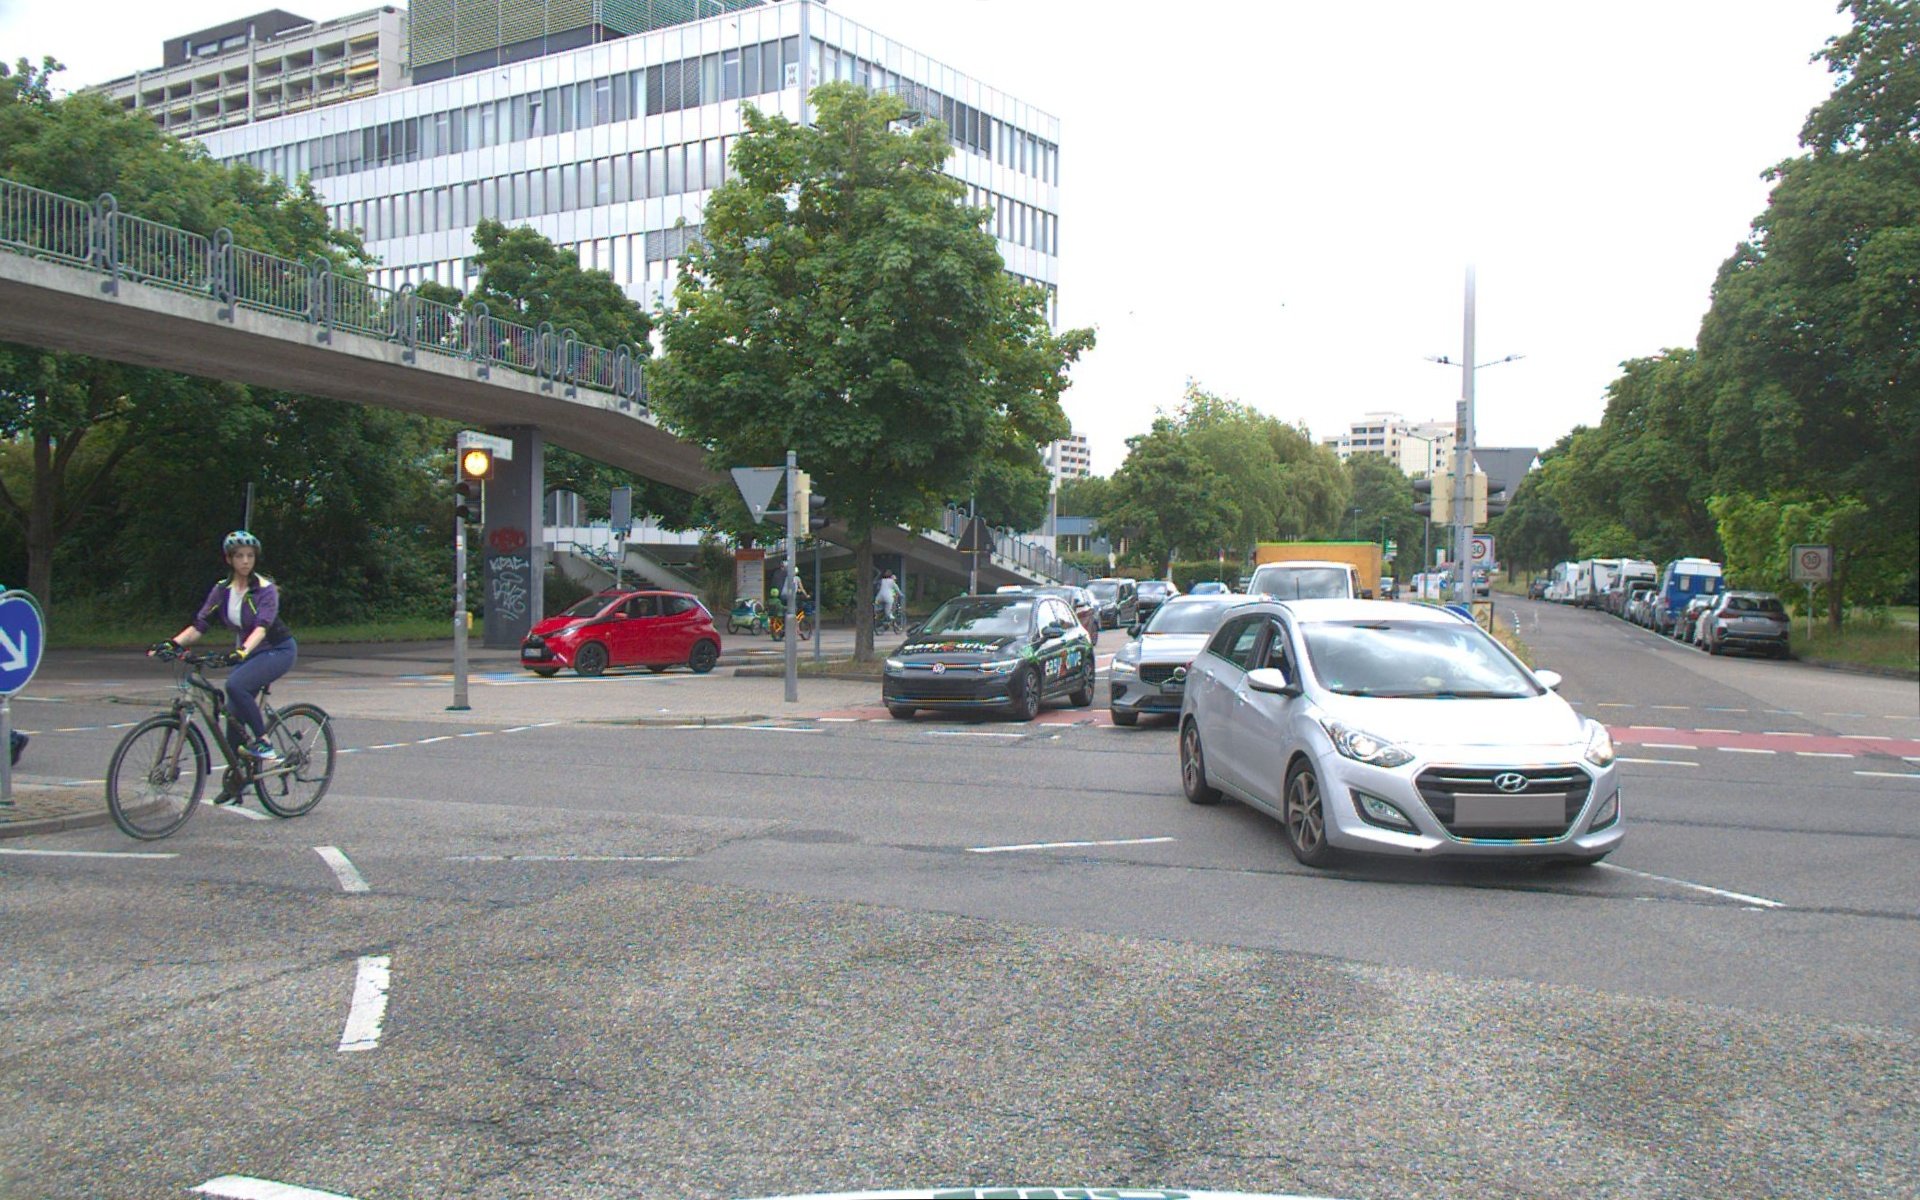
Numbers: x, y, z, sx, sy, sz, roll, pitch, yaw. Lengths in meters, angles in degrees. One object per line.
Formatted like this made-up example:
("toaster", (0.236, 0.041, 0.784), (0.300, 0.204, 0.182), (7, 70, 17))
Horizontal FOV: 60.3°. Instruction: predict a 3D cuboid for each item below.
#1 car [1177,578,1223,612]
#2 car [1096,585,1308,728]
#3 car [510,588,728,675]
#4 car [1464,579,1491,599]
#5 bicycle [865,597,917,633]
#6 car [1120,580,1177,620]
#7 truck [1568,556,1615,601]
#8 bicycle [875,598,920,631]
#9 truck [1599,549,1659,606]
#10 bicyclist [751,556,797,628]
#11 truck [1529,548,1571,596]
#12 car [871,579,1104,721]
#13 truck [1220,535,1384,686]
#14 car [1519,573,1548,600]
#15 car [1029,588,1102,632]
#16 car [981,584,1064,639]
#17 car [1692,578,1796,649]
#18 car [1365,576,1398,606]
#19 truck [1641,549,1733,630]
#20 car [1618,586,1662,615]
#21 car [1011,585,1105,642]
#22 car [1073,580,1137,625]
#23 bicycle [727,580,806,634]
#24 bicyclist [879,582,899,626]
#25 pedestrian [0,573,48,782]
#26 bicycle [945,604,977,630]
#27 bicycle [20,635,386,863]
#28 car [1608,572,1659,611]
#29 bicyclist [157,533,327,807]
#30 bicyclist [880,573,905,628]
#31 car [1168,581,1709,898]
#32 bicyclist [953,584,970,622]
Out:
("car", (11.780, -0.275, 81.001), (1.636, 1.579, 4.003), (1, 1, 17))
("car", (2.980, 0.624, 19.479), (1.856, 1.445, 4.739), (1, -1, 16))
("car", (-5.903, 0.503, 28.847), (1.491, 1.414, 3.508), (1, 1, 44))
("car", (41.825, -0.930, 133.623), (1.977, 1.531, 4.003), (1, 1, 16))
("bicycle", (-1.943, 0.424, 46.802), (0.746, 0.965, 1.953), (1, 1, 22))
("car", (7.835, -0.025, 68.519), (1.636, 1.579, 4.003), (1, 1, 17))
("truck", (37.265, -1.265, 97.711), (1.951, 2.617, 5.383), (0, 0, 14))
("bicycle", (-1.911, 0.424, 50.609), (0.517, 0.965, 1.705), (1, 1, 32))
("truck", (34.689, -1.179, 85.870), (1.951, 2.887, 5.737), (0, 1, 13))
("bicyclist", (-5.041, -0.235, 44.926), (0.838, 1.925, 1.128), (1, 2, 18))
("truck", (38.685, -1.843, 108.561), (1.951, 3.061, 5.777), (0, 0, 13))
("car", (0.467, 0.512, 20.206), (1.732, 1.503, 4.393), (1, 1, 16))
("truck", (5.847, 0.085, 27.689), (2.110, 2.237, 5.844), (1, 1, 17))
("car", (43.012, -1.052, 124.052), (1.616, 1.951, 3.923), (0, 2, 12))
("car", (3.650, 0.309, 56.650), (1.636, 1.411, 3.898), (1, 1, 17))
("car", (1.979, 0.329, 51.409), (1.636, 1.579, 3.894), (1, 1, 17))
("car", (19.892, 0.294, 42.112), (1.746, 1.691, 4.003), (1, 1, 16))
("car", (28.978, -0.641, 113.609), (1.951, 2.049, 4.002), (1, 1, 17))
("truck", (25.404, -0.366, 58.002), (2.128, 2.702, 6.250), (0, 0, 16))
("car", (29.975, -0.011, 72.985), (1.296, 1.211, 3.656), (1, 1, 14))
("car", (2.559, 0.319, 42.541), (1.527, 1.369, 2.972), (1, 1, 23))
("car", (5.423, 0.069, 61.681), (1.636, 1.579, 3.764), (1, 1, 17))
("bicycle", (-5.174, 0.158, 44.510), (0.838, 1.338, 3.232), (1, 2, 18))
("bicyclist", (-2.000, 0.103, 46.661), (0.396, 1.201, 0.377), (4, 3, 18))
("pedestrian", (-7.772, 0.599, 13.238), (0.672, 1.632, 0.488), (1, 1, 12))
("bicycle", (0.038, 0.560, 54.207), (0.499, 0.792, 1.842), (1, 1, 18))
("bicycle", (-4.477, 0.820, 10.020), (0.711, 1.120, 2.266), (1, 1, 16))
("car", (31.293, -0.418, 76.909), (1.683, 1.790, 4.003), (0, 1, 14))
("bicyclist", (-4.415, 0.409, 10.198), (0.664, 1.622, 0.695), (0, 0, 16))
("bicyclist", (-2.054, 0.011, 50.390), (0.555, 1.673, 0.530), (0, 0, 33))
("car", (2.703, 0.676, 10.497), (1.755, 1.545, 4.319), (0, 1, -7))
("bicyclist", (0.048, 0.082, 54.245), (0.421, 1.239, 0.568), (0, 1, 16))
